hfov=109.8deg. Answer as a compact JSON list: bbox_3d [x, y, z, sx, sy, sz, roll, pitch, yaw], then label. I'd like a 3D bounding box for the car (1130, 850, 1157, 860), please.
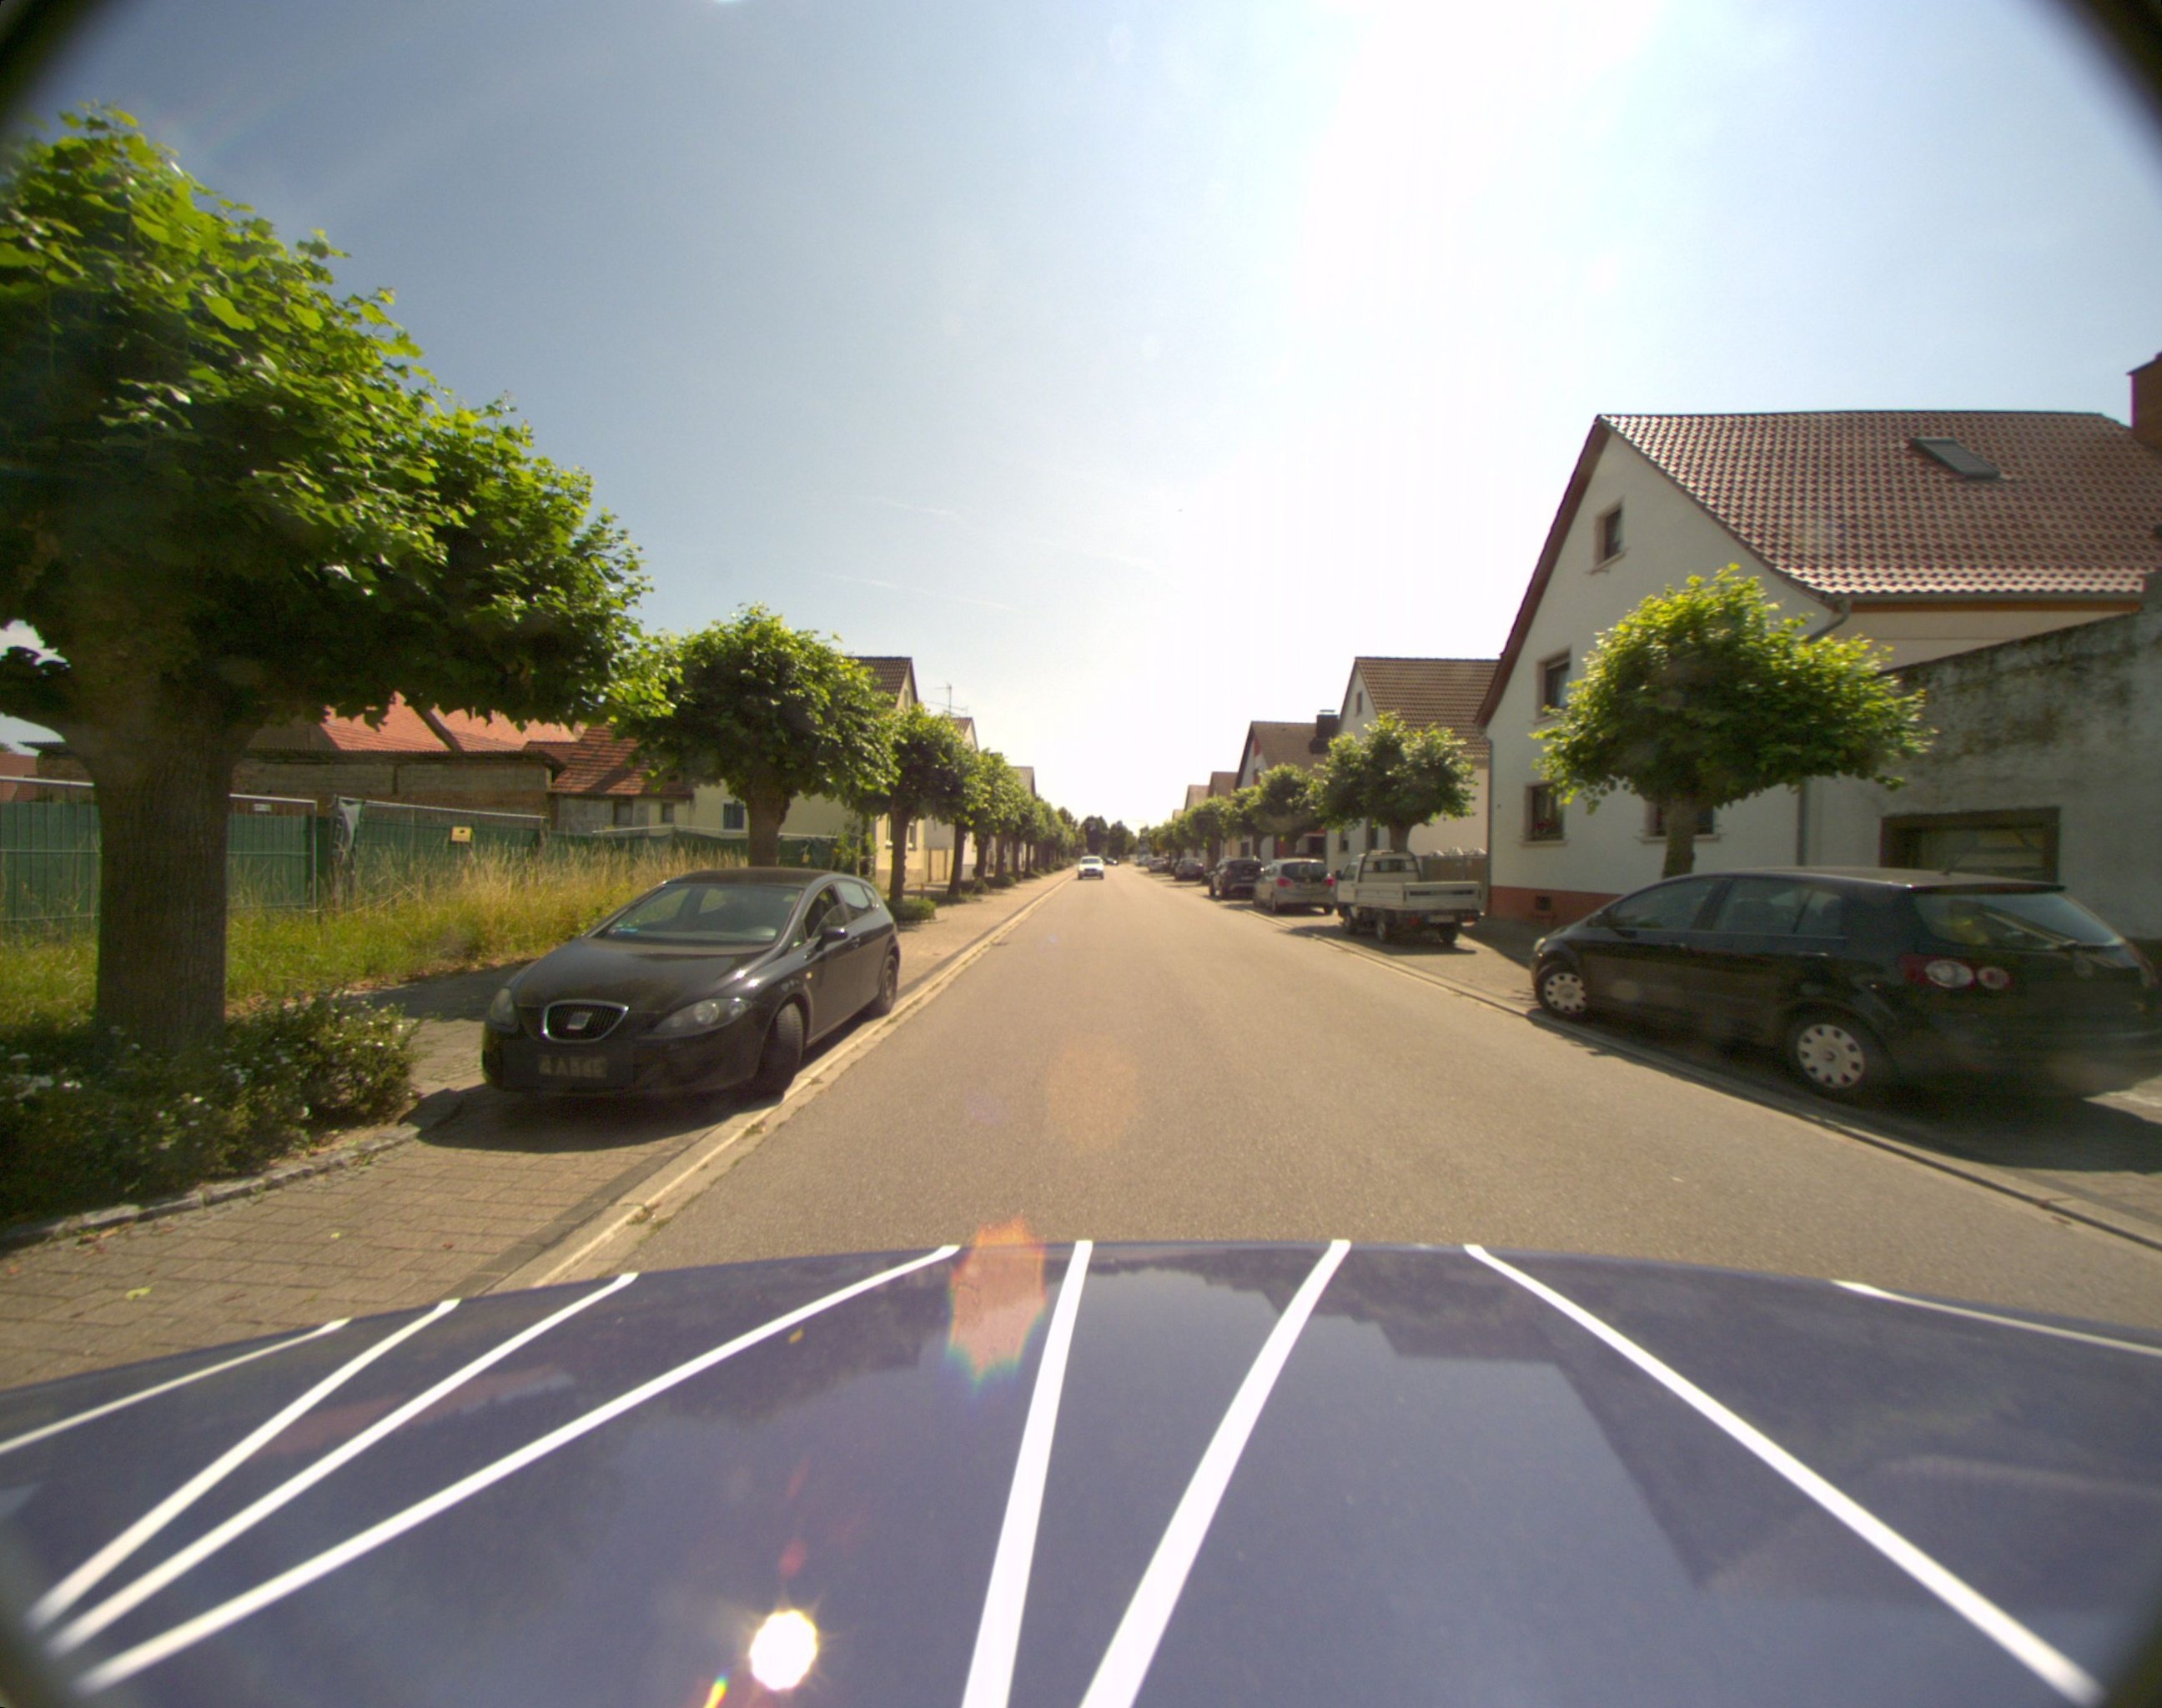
[{"bbox_3d":[10.827,0.187,131.866,4.251,1.709,1.945,-1,1,-4],"label":"car"}]

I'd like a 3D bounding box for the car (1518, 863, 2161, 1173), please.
[{"bbox_3d":[5.726,0.923,6.227,1.791,1.624,3.998,-1,0,-4],"label":"car"}]

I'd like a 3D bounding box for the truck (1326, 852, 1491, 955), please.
[{"bbox_3d":[6.393,0.860,15.354,1.580,1.755,4.192,-1,0,1],"label":"truck"}]

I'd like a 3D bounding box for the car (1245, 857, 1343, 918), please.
[{"bbox_3d":[6.464,0.948,23.556,1.857,1.604,4.370,-1,1,1],"label":"car"}]

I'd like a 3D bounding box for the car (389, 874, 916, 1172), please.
[{"bbox_3d":[-2.757,0.962,6.122,1.828,1.424,4.057,3,0,1],"label":"car"}]

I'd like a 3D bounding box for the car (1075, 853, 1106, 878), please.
[{"bbox_3d":[0.700,0.783,52.547,1.857,1.603,4.135,-1,0,3],"label":"car"}]

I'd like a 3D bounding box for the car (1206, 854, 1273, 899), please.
[{"bbox_3d":[6.347,0.876,30.875,1.857,1.626,4.300,-2,0,1],"label":"car"}]

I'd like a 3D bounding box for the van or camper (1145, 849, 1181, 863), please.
[{"bbox_3d":[11.600,0.258,107.646,4.752,1.851,2.000,-1,0,1],"label":"van or camper"}]

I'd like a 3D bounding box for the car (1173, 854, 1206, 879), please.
[{"bbox_3d":[7.338,0.814,51.596,1.857,1.603,4.135,-1,0,3],"label":"car"}]

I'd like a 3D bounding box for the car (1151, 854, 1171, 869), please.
[{"bbox_3d":[8.344,0.784,79.668,1.829,1.474,4.132,-1,0,2],"label":"car"}]
